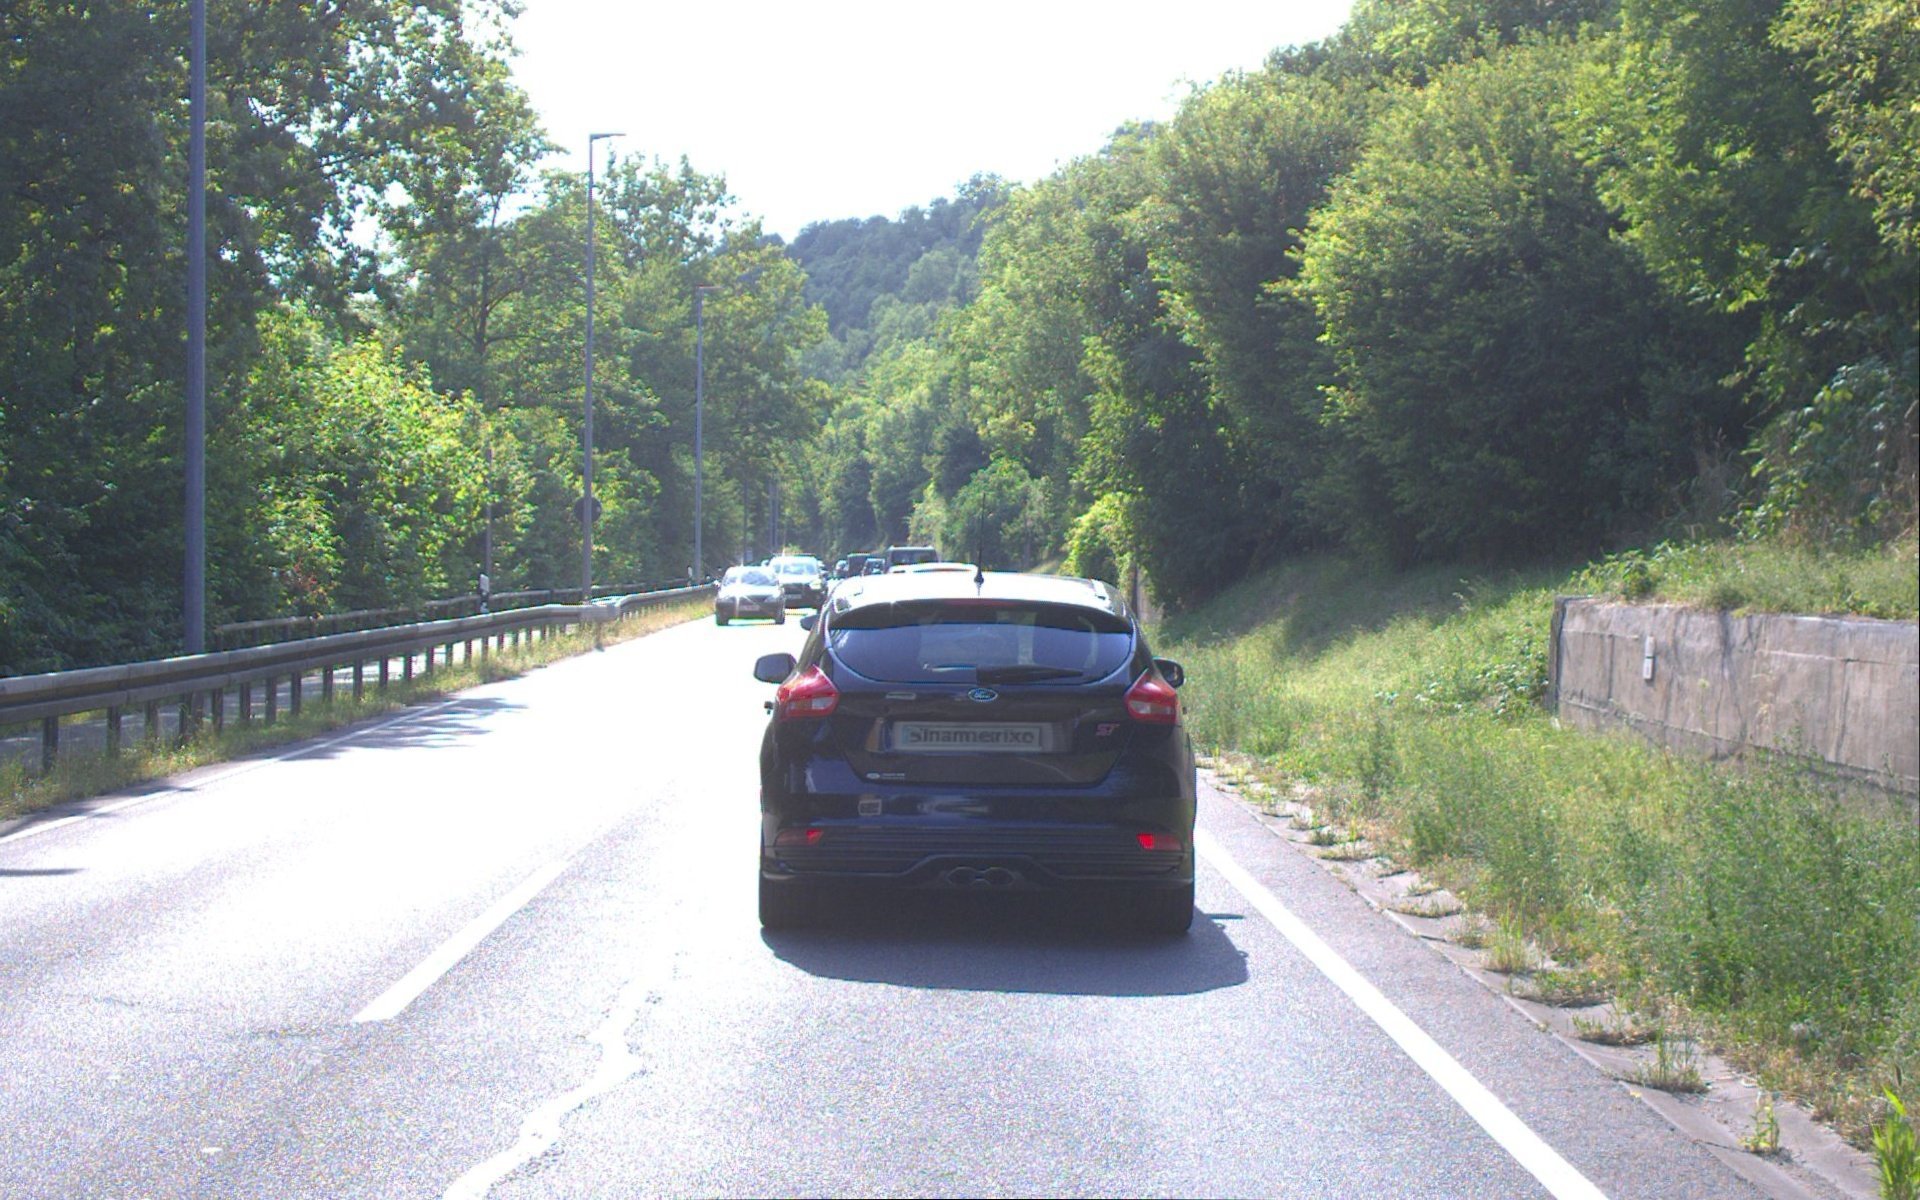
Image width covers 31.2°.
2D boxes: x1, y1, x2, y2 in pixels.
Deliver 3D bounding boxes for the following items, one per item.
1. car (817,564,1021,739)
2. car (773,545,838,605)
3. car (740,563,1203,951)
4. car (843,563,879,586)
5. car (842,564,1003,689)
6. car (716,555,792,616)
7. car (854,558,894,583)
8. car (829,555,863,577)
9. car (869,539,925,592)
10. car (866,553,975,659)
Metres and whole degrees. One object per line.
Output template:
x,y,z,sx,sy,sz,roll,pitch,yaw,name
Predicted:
-0.306,0.400,30.105,1.661,1.413,4.000,0,1,1,car
-4.541,-0.746,101.340,1.748,1.712,4.221,0,1,0,car
0.025,0.580,15.071,1.739,1.451,4.000,1,0,-1,car
-6.653,-1.697,230.203,1.993,1.514,4.001,0,1,-8,car
-0.444,0.275,40.874,1.804,1.387,4.000,0,1,-1,car
-5.111,-0.381,85.738,1.681,1.437,4.000,0,1,-1,car
-5.250,-1.788,208.945,1.993,1.514,4.001,0,1,-8,car
-8.047,-2.386,242.693,1.993,1.514,4.001,0,1,-8,car
-2.147,-1.198,117.946,1.863,1.774,4.000,0,1,-1,car
-0.620,0.067,53.796,1.631,1.590,4.000,0,1,-1,car
